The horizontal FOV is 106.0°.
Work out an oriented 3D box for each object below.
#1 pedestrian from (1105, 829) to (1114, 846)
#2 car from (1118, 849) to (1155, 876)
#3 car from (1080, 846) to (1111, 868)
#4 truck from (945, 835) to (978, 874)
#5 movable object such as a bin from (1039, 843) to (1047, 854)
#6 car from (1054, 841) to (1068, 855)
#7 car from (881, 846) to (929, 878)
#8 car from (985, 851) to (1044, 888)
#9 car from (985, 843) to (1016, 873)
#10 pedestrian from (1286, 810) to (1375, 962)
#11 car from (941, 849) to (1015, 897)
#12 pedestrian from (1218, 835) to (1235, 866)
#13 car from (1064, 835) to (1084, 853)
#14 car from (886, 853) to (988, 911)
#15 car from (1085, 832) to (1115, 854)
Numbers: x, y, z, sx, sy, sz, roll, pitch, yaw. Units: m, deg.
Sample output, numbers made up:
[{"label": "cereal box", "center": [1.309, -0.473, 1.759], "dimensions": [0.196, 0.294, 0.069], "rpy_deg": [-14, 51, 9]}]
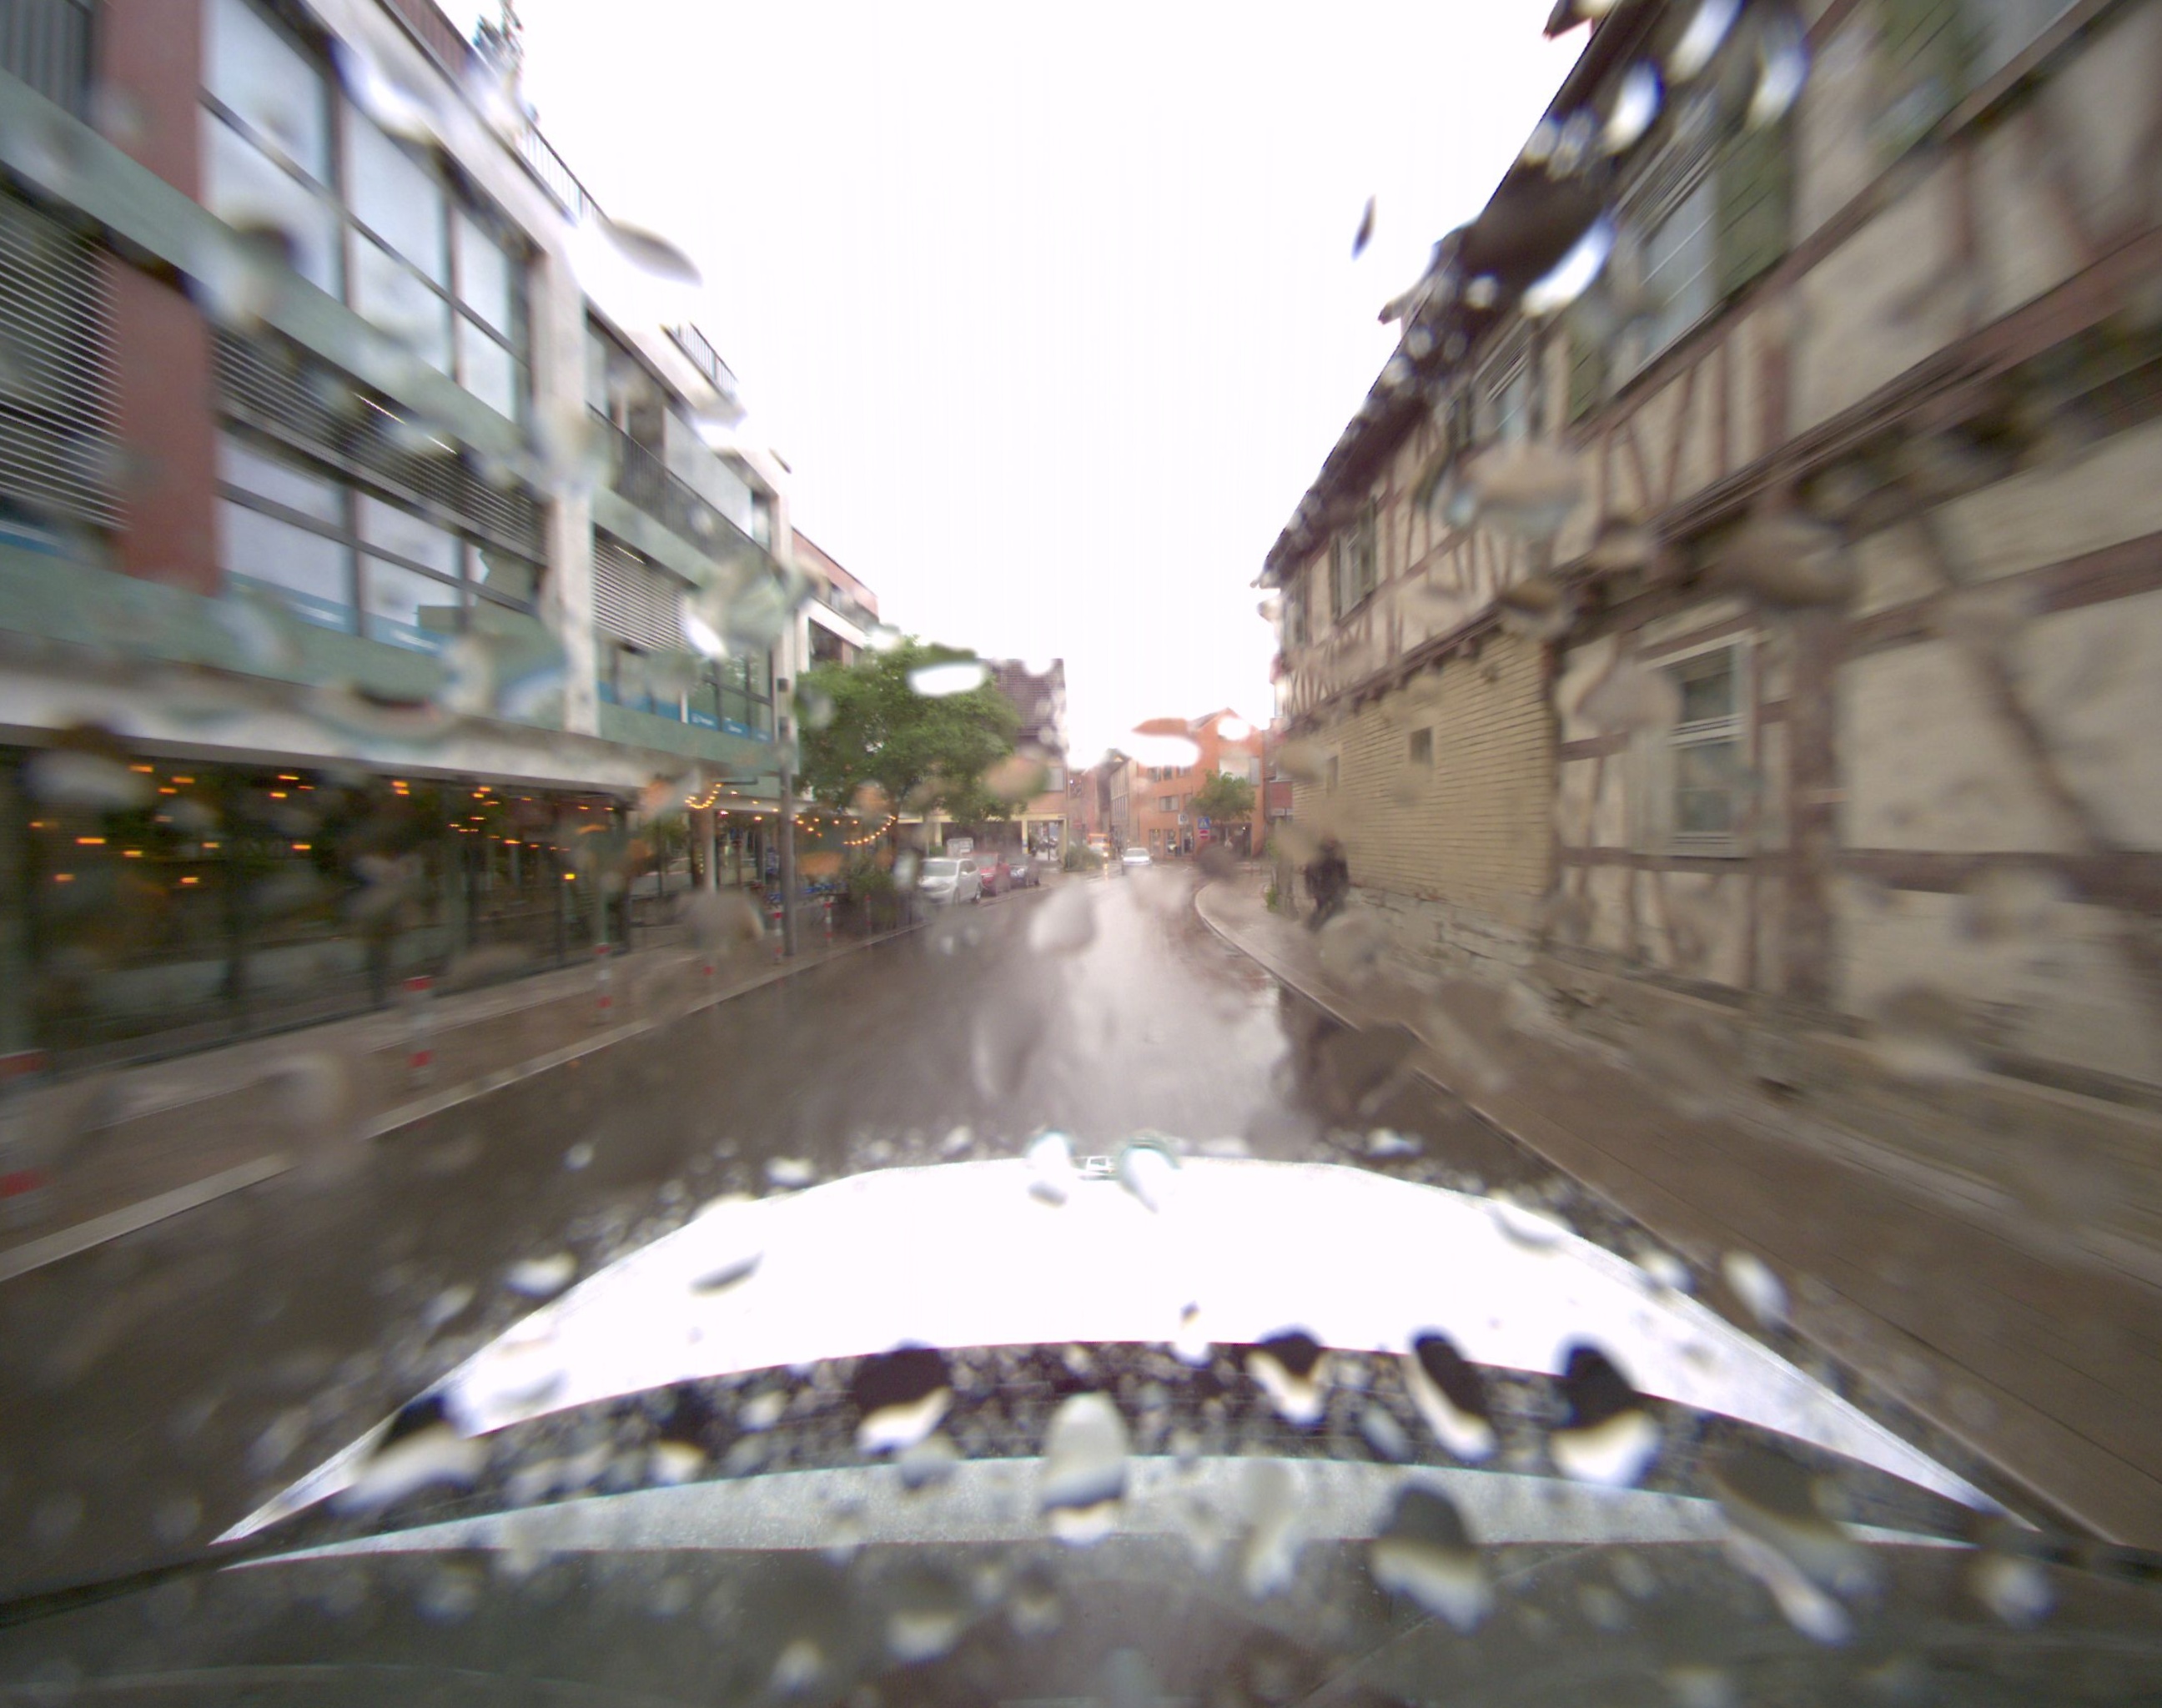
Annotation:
[{"label": "pedestrian", "center": [3.362, -1.962, 96.033], "dimensions": [0.866, 2.013, 0.706], "rpy_deg": [-1, 1, -8]}, {"label": "car", "center": [3.215, 0.457, 47.749], "dimensions": [1.785, 1.417, 4.027], "rpy_deg": [-4, 0, -1]}, {"label": "car", "center": [0.981, 0.181, 58.140], "dimensions": [1.713, 1.458, 3.902], "rpy_deg": [0, 1, -6]}, {"label": "truck", "center": [-7.386, -0.034, 50.573], "dimensions": [1.593, 2.062, 3.192], "rpy_deg": [-3, 5, -2]}, {"label": "movable object such as a bin", "center": [-4.742, -0.708, 101.830], "dimensions": [0.834, 1.382, 0.851], "rpy_deg": [-2, 1, -9]}, {"label": "car", "center": [-3.119, -0.885, 125.053], "dimensions": [1.988, 2.013, 4.360], "rpy_deg": [-3, 1, -2]}, {"label": "car", "center": [-10.649, 0.444, 49.567], "dimensions": [1.805, 1.617, 4.004], "rpy_deg": [-1, 4, 3]}, {"label": "car", "center": [-2.810, 0.632, 35.126], "dimensions": [1.705, 1.458, 3.919], "rpy_deg": [0, 1, 8]}, {"label": "car", "center": [-4.977, 0.222, 50.727], "dimensions": [1.573, 1.478, 3.824], "rpy_deg": [-1, 5, 0]}, {"label": "pedestrian", "center": [3.291, 0.401, 10.818], "dimensions": [0.808, 1.885, 0.907], "rpy_deg": [-3, 0, -1]}, {"label": "car", "center": [-3.733, 0.653, 30.159], "dimensions": [1.778, 1.576, 4.113], "rpy_deg": [-2, 0, 6]}, {"label": "pedestrian", "center": [9.247, -0.226, 51.656], "dimensions": [0.853, 1.914, 0.762], "rpy_deg": [-1, 1, 27]}, {"label": "car", "center": [-0.960, -1.238, 105.269], "dimensions": [2.100, 2.146, 4.859], "rpy_deg": [-3, 1, -5]}, {"label": "car", "center": [-4.156, 0.756, 24.264], "dimensions": [1.778, 1.498, 4.462], "rpy_deg": [-2, 0, 6]}, {"label": "car", "center": [1.880, -1.121, 84.167], "dimensions": [2.104, 2.146, 4.851], "rpy_deg": [-3, 1, -10]}]
